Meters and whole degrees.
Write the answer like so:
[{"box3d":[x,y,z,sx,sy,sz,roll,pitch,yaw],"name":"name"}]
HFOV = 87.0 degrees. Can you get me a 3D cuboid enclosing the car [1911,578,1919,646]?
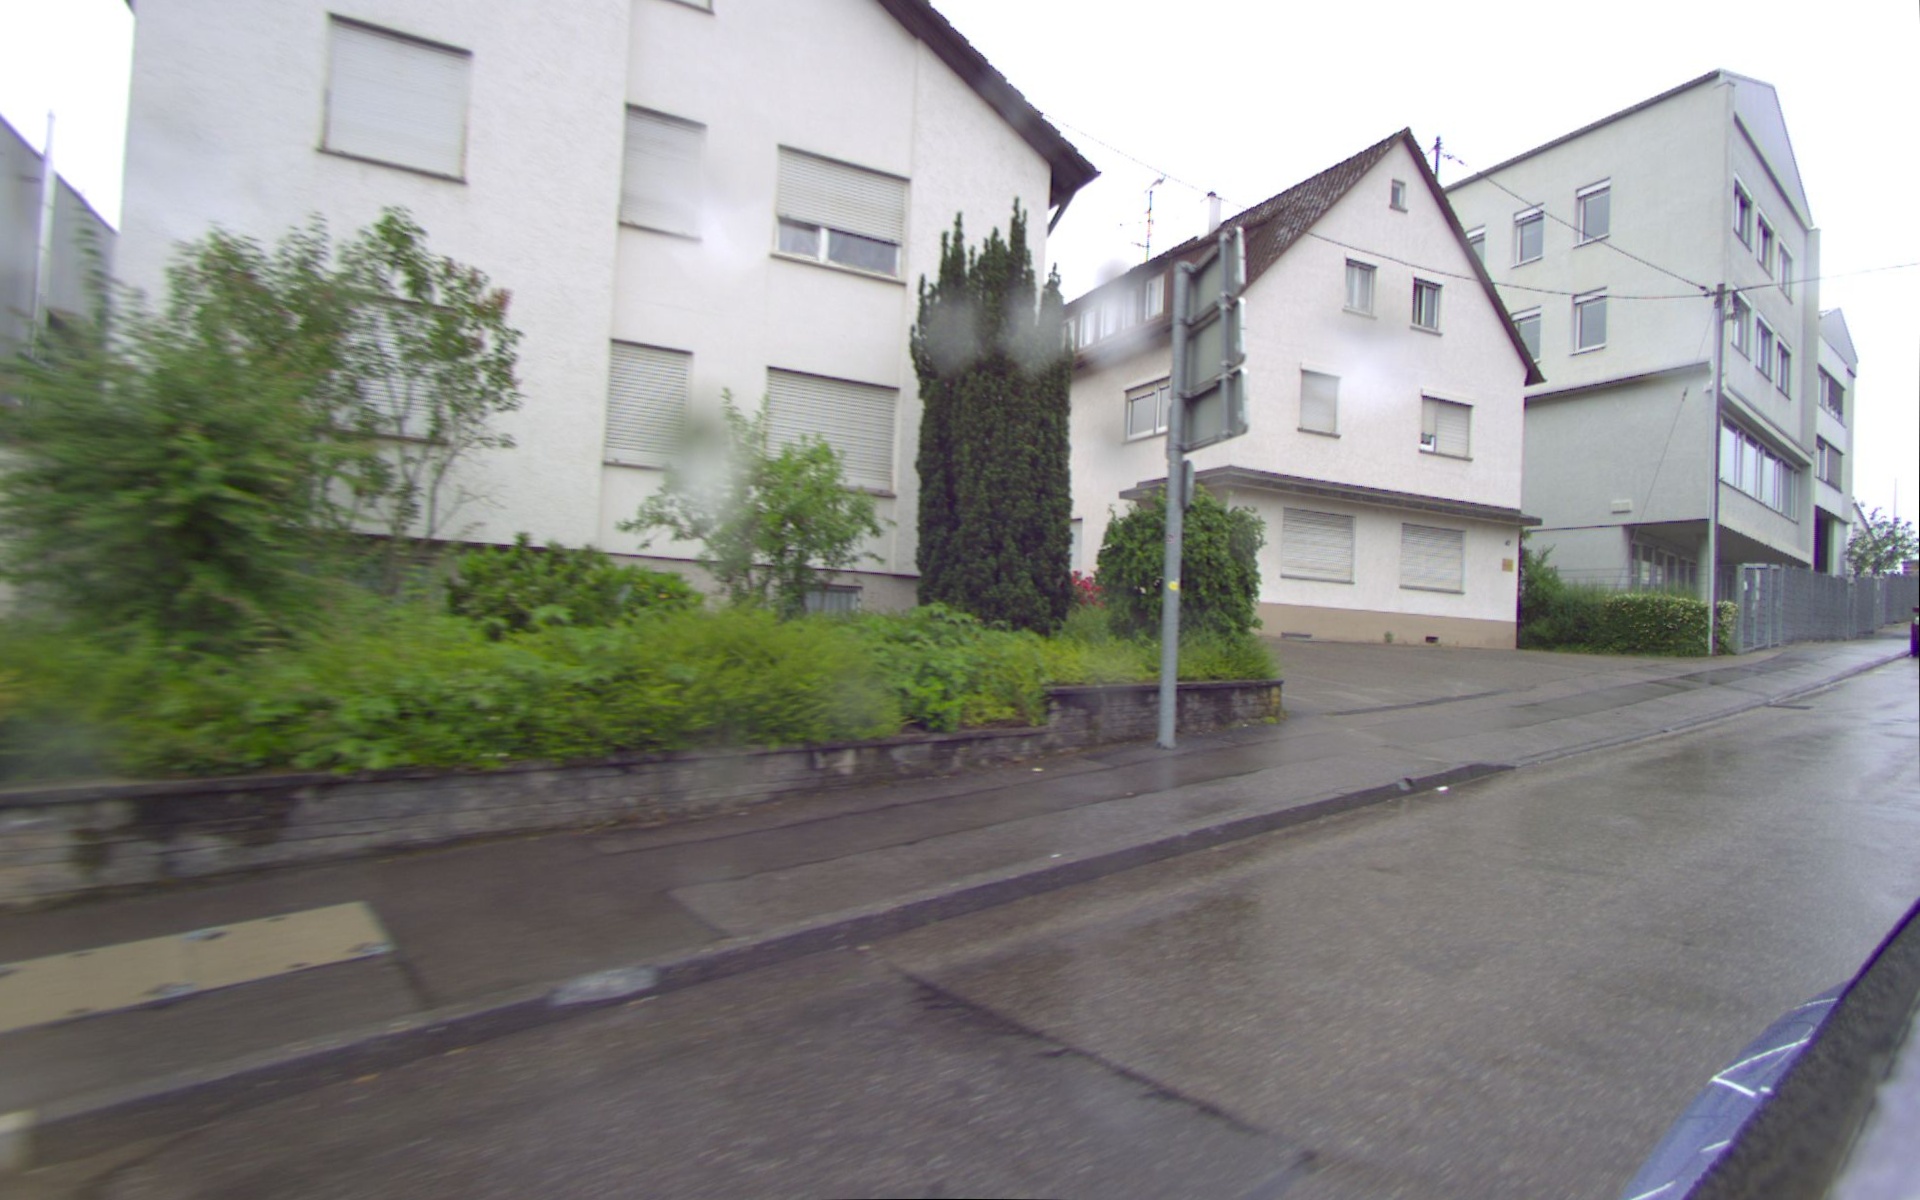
[{"box3d":[25.917,0.292,25.730,4.871,1.665,1.997,-1,1,-40],"name":"car"}]
